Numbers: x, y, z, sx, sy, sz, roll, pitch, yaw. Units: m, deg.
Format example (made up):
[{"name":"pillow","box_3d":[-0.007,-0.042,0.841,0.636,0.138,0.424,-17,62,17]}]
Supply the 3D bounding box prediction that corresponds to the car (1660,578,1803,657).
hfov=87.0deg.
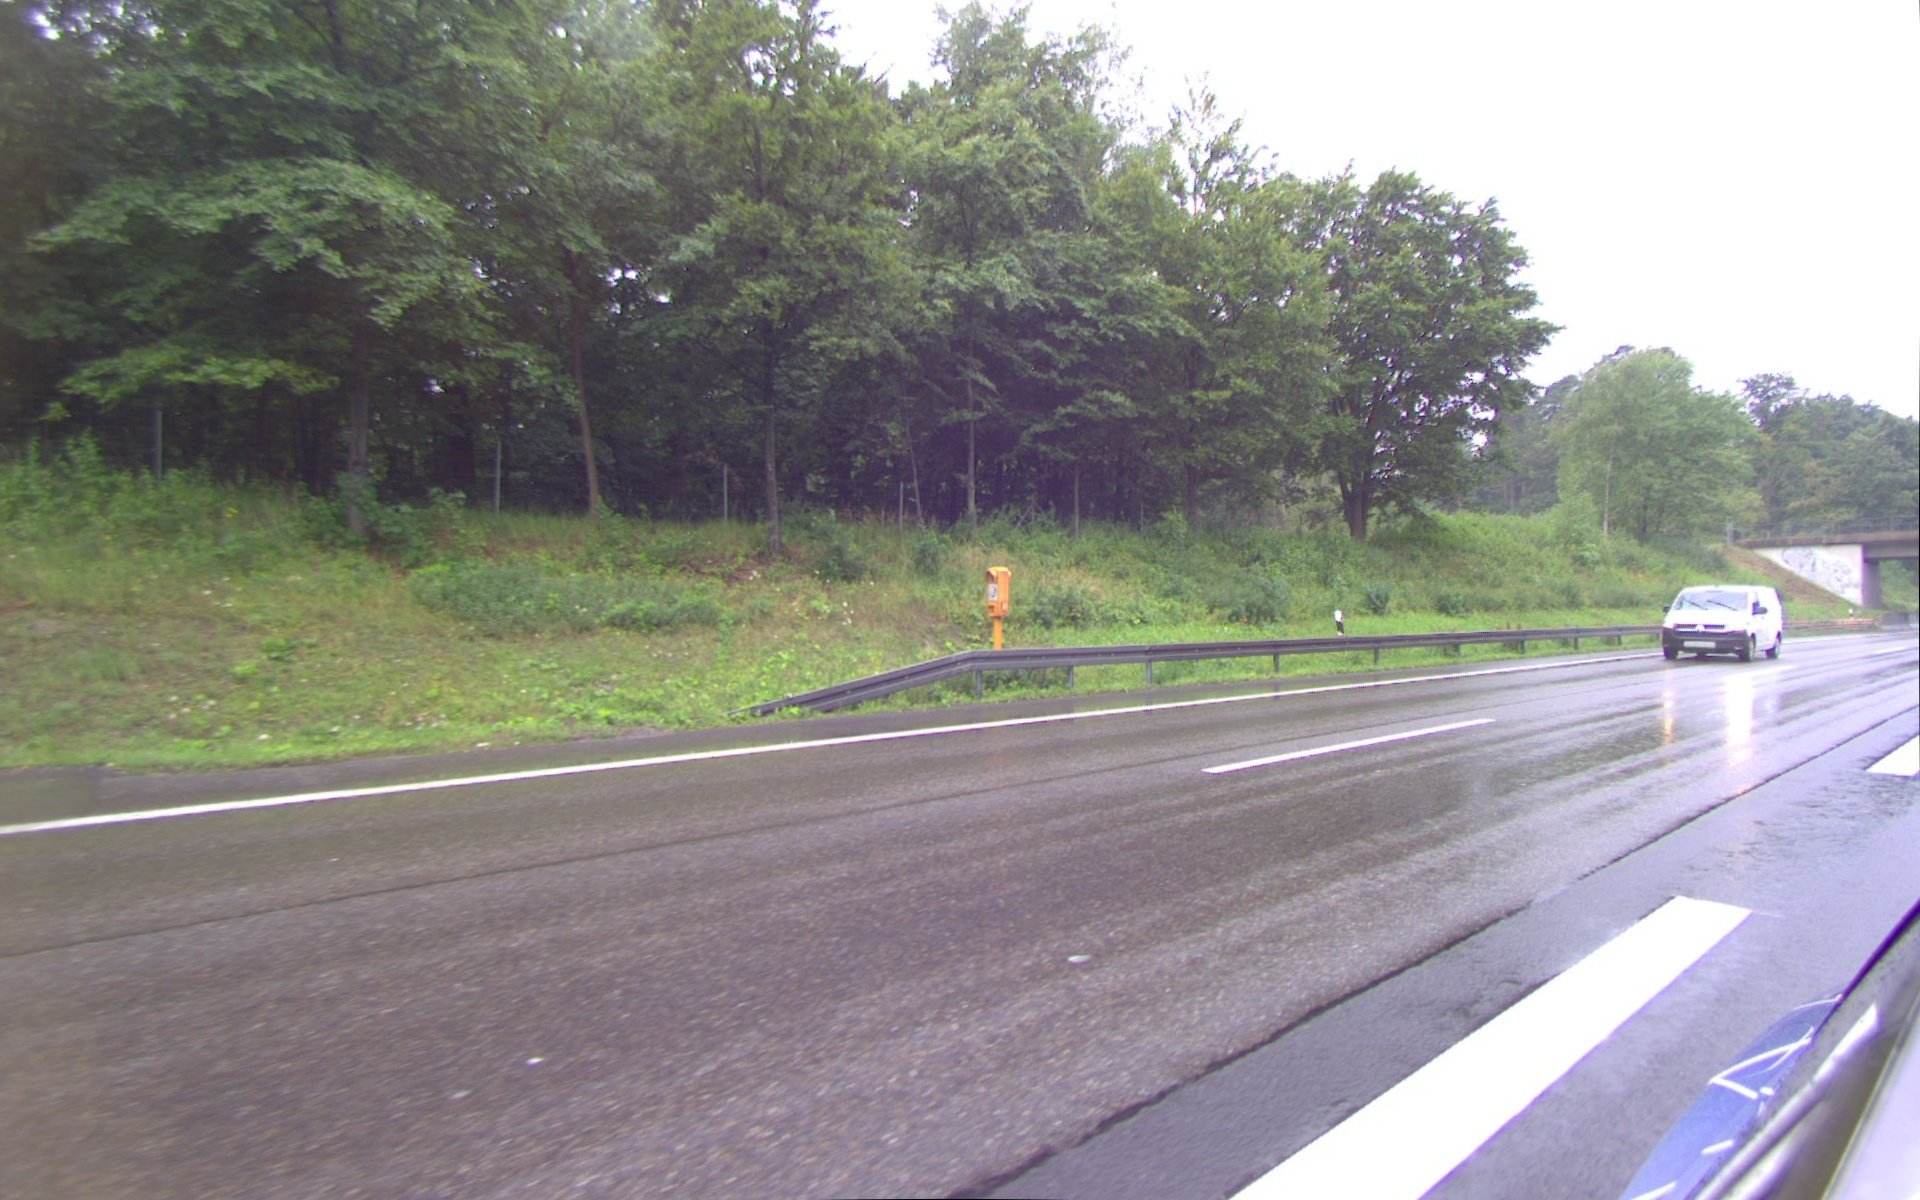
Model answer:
[{"name":"car","box_3d":[20.747,0.423,27.135,4.680,1.945,1.994,0,0,-39]}]
